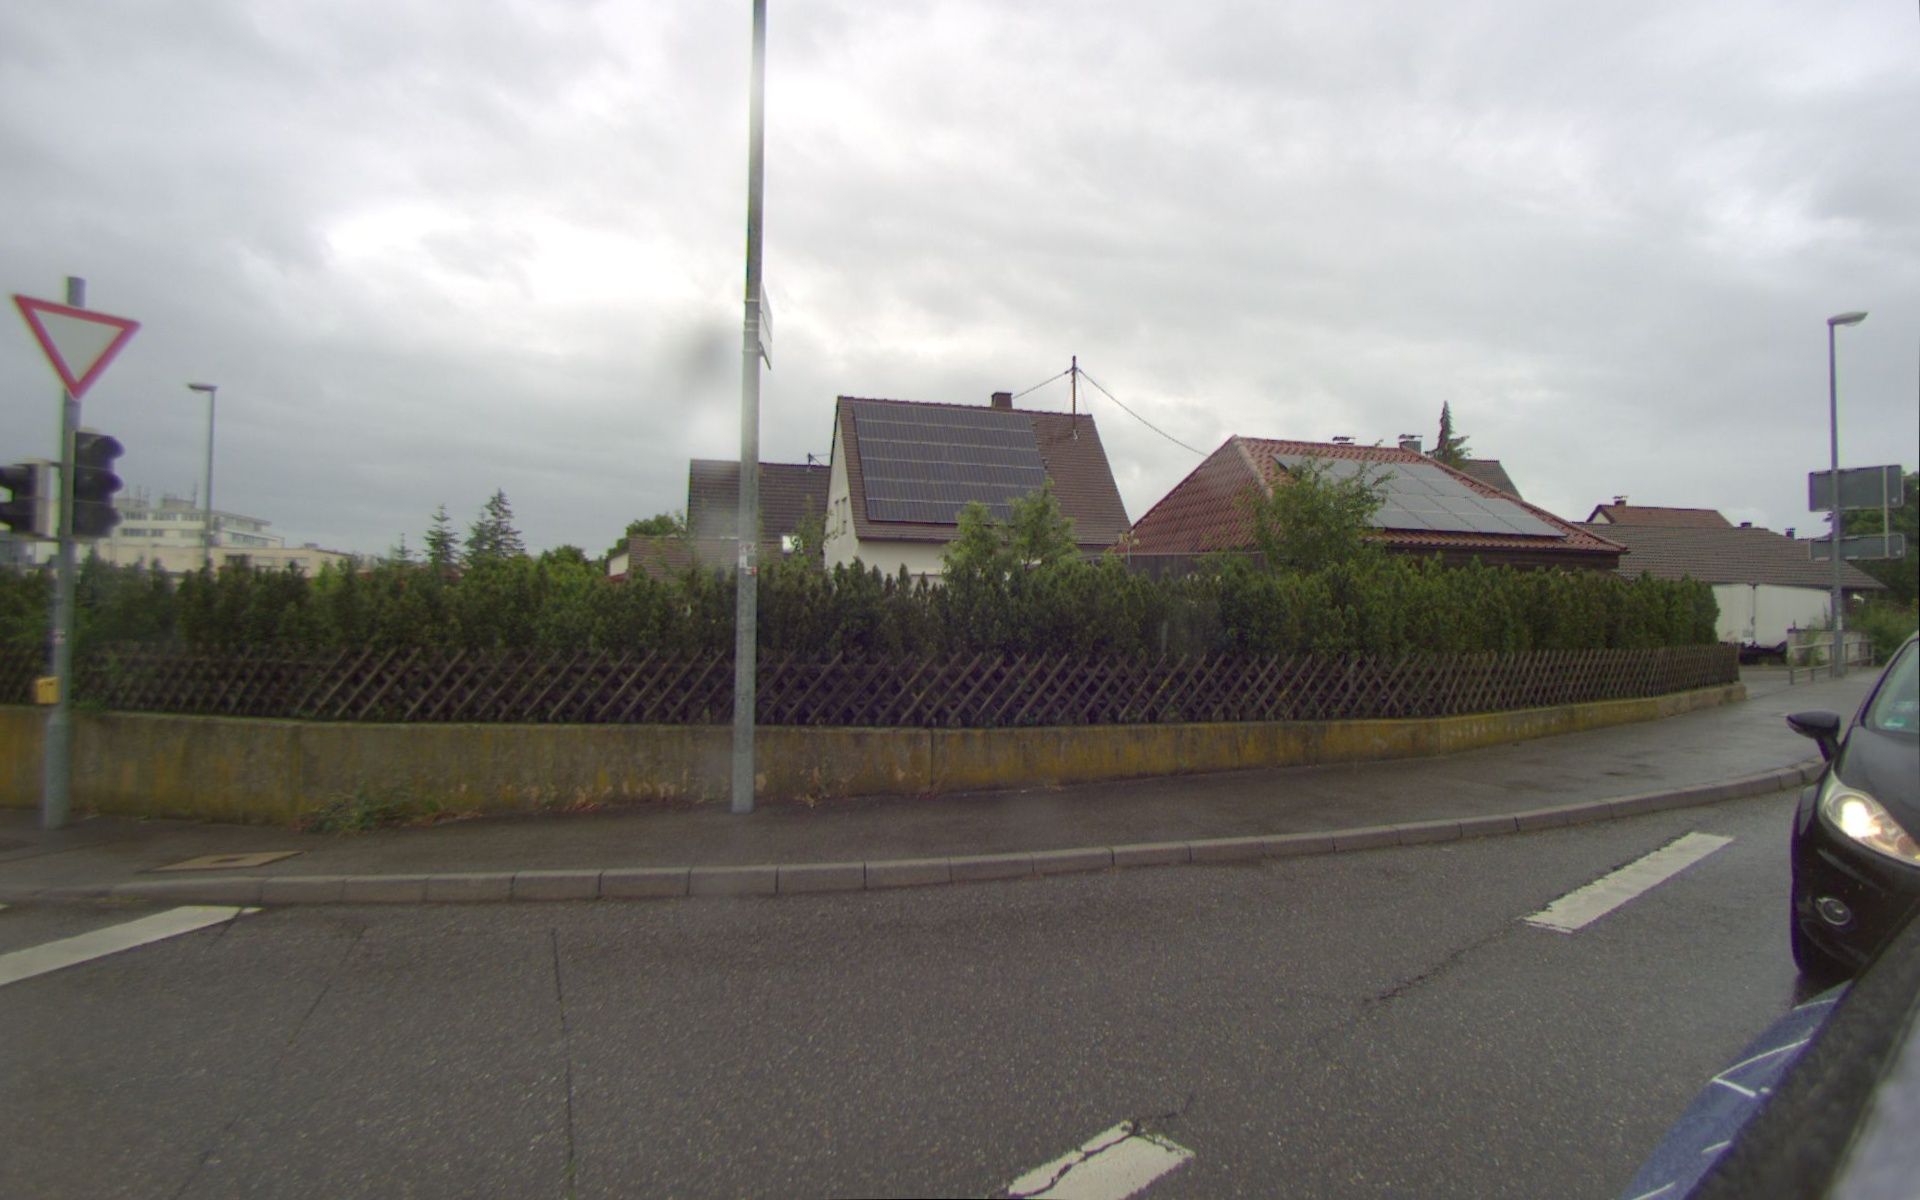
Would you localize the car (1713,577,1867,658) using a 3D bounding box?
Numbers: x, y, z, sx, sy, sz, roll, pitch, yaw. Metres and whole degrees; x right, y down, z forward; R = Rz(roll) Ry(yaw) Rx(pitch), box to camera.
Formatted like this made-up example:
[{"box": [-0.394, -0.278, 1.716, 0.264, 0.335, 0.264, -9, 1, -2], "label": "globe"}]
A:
[{"box": [25.574, 0.512, 31.218, 3.916, 2.380, 1.657, 0, -1, -14], "label": "car"}]

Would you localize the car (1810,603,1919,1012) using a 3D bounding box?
[{"box": [5.244, 0.758, 4.607, 3.867, 1.436, 1.663, -1, 0, -43], "label": "car"}]
